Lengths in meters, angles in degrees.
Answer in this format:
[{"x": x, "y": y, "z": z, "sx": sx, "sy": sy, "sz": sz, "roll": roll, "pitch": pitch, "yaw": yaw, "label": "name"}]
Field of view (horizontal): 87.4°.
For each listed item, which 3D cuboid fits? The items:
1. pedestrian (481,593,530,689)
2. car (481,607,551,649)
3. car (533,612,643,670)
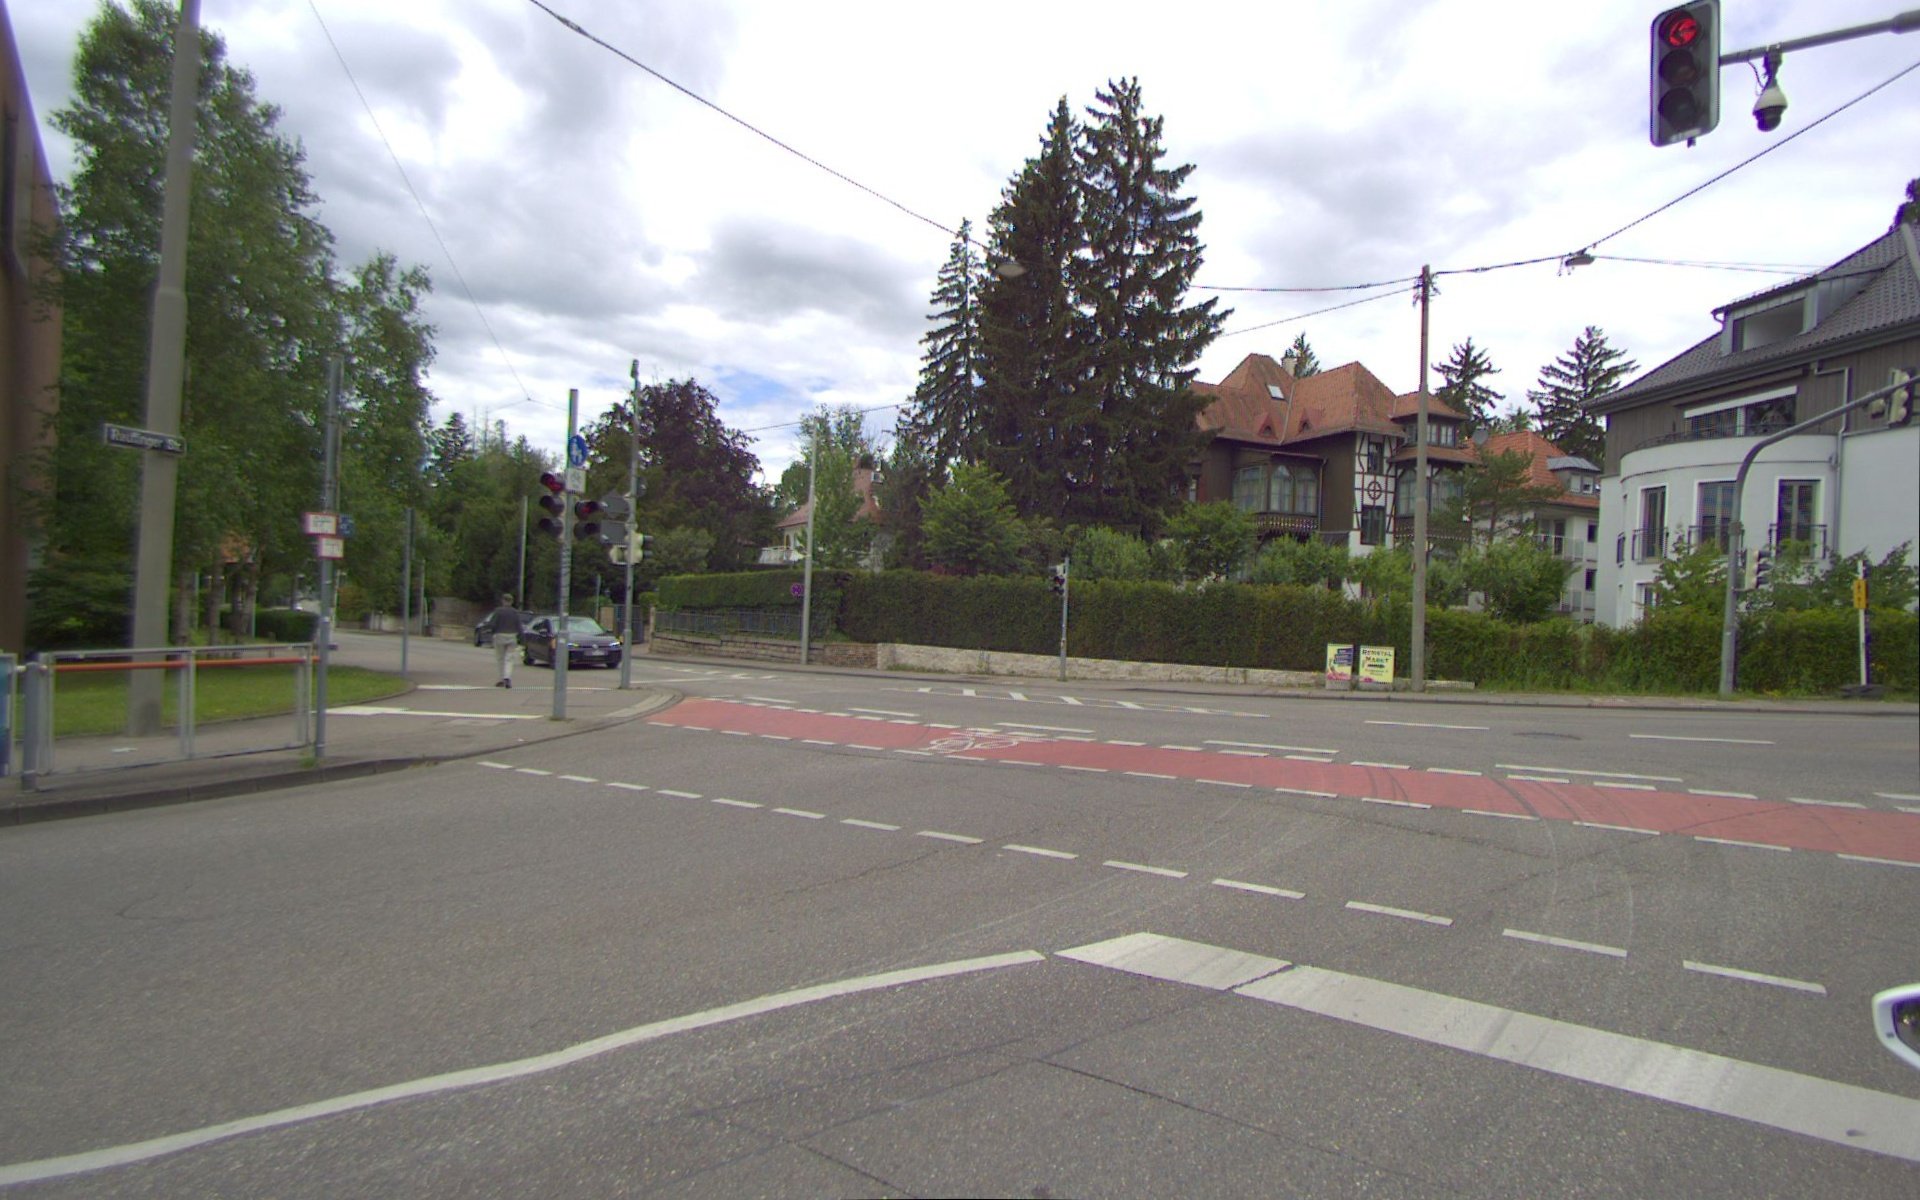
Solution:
[{"x": -8.081, "y": 0.722, "z": 17.856, "sx": 0.677, "sy": 1.655, "sz": 0.733, "roll": 0, "pitch": -1, "yaw": -35, "label": "pedestrian"}, {"x": -21.329, "y": 1.348, "z": 48.149, "sx": 1.901, "sy": 1.905, "sz": 5.087, "roll": 2, "pitch": -2, "yaw": -37, "label": "car"}, {"x": -10.798, "y": 1.145, "z": 29.037, "sx": 1.816, "sy": 1.556, "sz": 3.955, "roll": 2, "pitch": -2, "yaw": -39, "label": "car"}]
